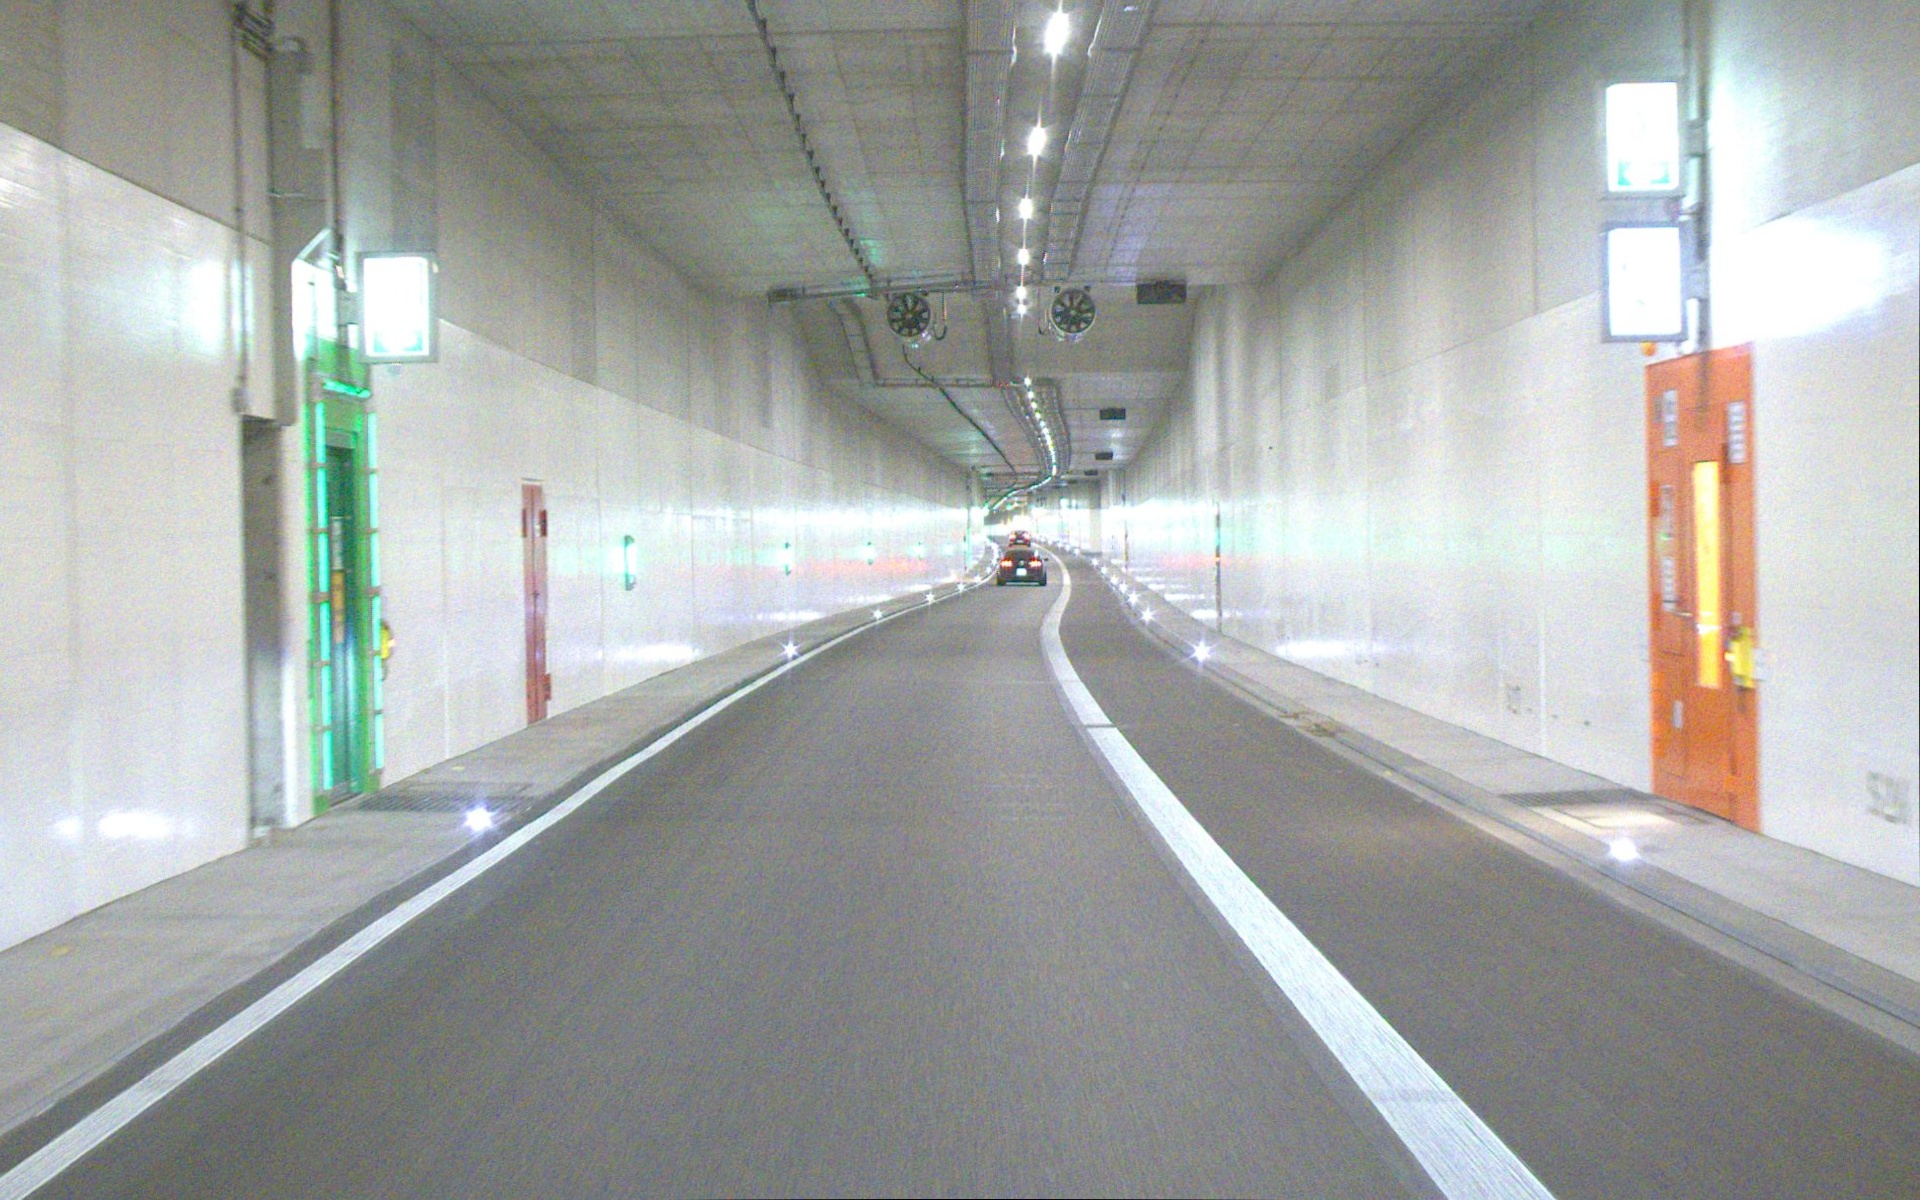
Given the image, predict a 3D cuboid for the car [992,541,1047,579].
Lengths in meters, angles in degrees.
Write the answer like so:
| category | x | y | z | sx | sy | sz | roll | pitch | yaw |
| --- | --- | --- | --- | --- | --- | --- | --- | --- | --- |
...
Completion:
| category | x | y | z | sx | sy | sz | roll | pitch | yaw |
| --- | --- | --- | --- | --- | --- | --- | --- | --- | --- |
| car | 2.275 | -1.555 | 131.687 | 1.993 | 1.415 | 4.000 | 1 | 1 | 0 |
